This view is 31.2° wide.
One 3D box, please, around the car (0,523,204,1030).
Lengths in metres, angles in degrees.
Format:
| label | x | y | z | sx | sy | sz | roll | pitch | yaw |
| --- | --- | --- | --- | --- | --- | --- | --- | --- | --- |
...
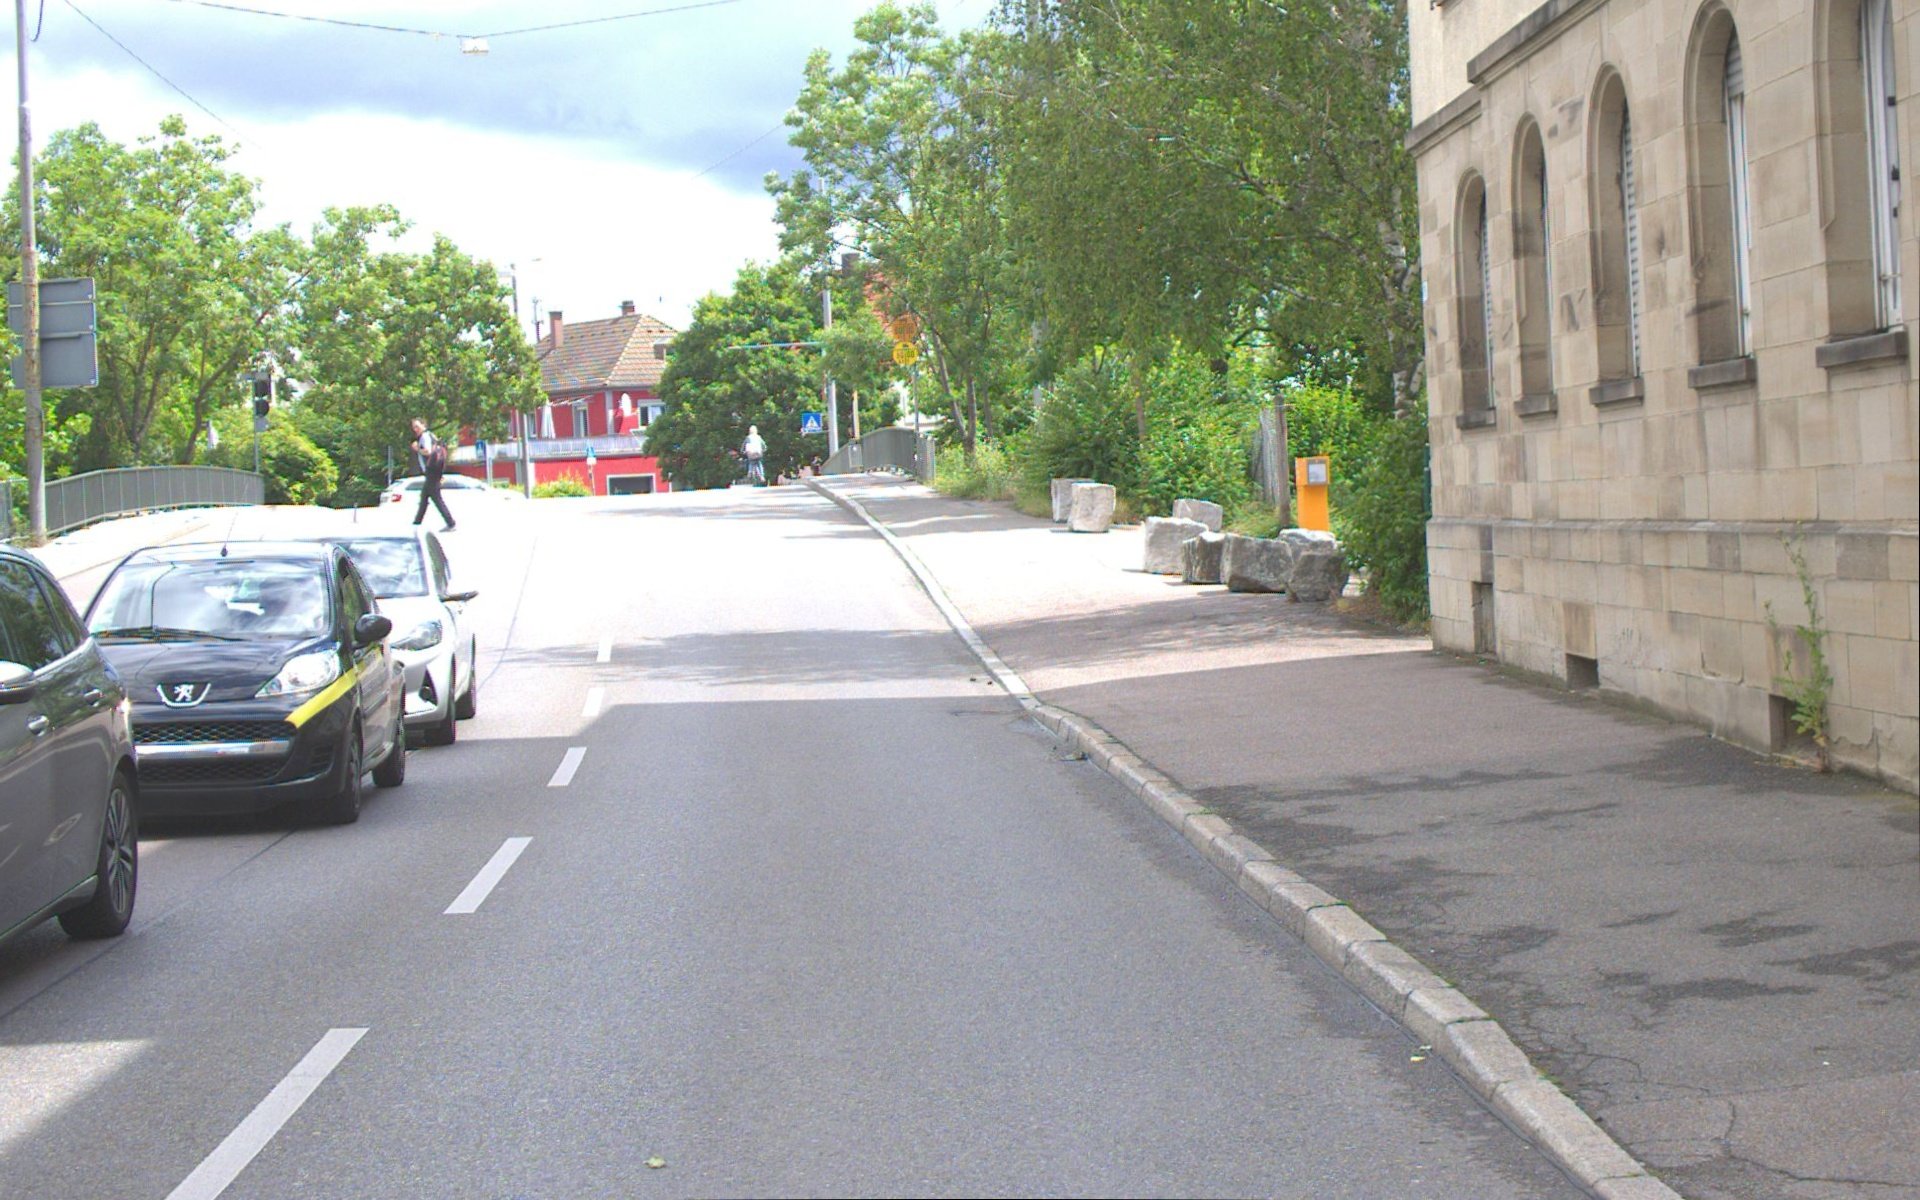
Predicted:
| label | x | y | z | sx | sy | sz | roll | pitch | yaw |
| --- | --- | --- | --- | --- | --- | --- | --- | --- | --- |
| car | -3.850 | 0.543 | 11.488 | 1.719 | 1.576 | 4.251 | 0 | 1 | 0 |

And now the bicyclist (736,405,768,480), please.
| label | x | y | z | sx | sy | sz | roll | pitch | yaw |
| --- | --- | --- | --- | --- | --- | --- | --- | --- | --- |
| bicyclist | -5.318 | -4.019 | 87.896 | 0.684 | 1.820 | 1.080 | -2 | -3 | 0 |

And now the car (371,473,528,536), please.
| label | x | y | z | sx | sy | sz | roll | pitch | yaw |
| --- | --- | --- | --- | --- | --- | --- | --- | --- | --- |
| car | -15.886 | -2.958 | 106.962 | 4.417 | 1.825 | 2.000 | 1 | 0 | -27 |

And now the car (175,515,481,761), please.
| label | x | y | z | sx | sy | sz | roll | pitch | yaw |
| --- | --- | --- | --- | --- | --- | --- | --- | --- | --- |
| car | -4.363 | 0.222 | 24.240 | 1.718 | 1.576 | 4.001 | 0 | 1 | -5 |

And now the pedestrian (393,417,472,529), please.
| label | x | y | z | sx | sy | sz | roll | pitch | yaw |
| --- | --- | --- | --- | --- | --- | --- | --- | --- | --- |
| pedestrian | -8.843 | -2.135 | 57.664 | 1.034 | 1.830 | 0.999 | -1 | 3 | 7 |

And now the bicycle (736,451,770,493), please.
| label | x | y | z | sx | sy | sz | roll | pitch | yaw |
| --- | --- | --- | --- | --- | --- | --- | --- | --- | --- |
| bicycle | -5.288 | -3.263 | 87.936 | 0.687 | 0.875 | 2.101 | -2 | -3 | 0 |

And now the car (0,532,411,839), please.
| label | x | y | z | sx | sy | sz | roll | pitch | yaw |
| --- | --- | --- | --- | --- | --- | --- | --- | --- | --- |
| car | -3.939 | 0.395 | 18.380 | 1.718 | 1.479 | 3.323 | 0 | 1 | -5 |
